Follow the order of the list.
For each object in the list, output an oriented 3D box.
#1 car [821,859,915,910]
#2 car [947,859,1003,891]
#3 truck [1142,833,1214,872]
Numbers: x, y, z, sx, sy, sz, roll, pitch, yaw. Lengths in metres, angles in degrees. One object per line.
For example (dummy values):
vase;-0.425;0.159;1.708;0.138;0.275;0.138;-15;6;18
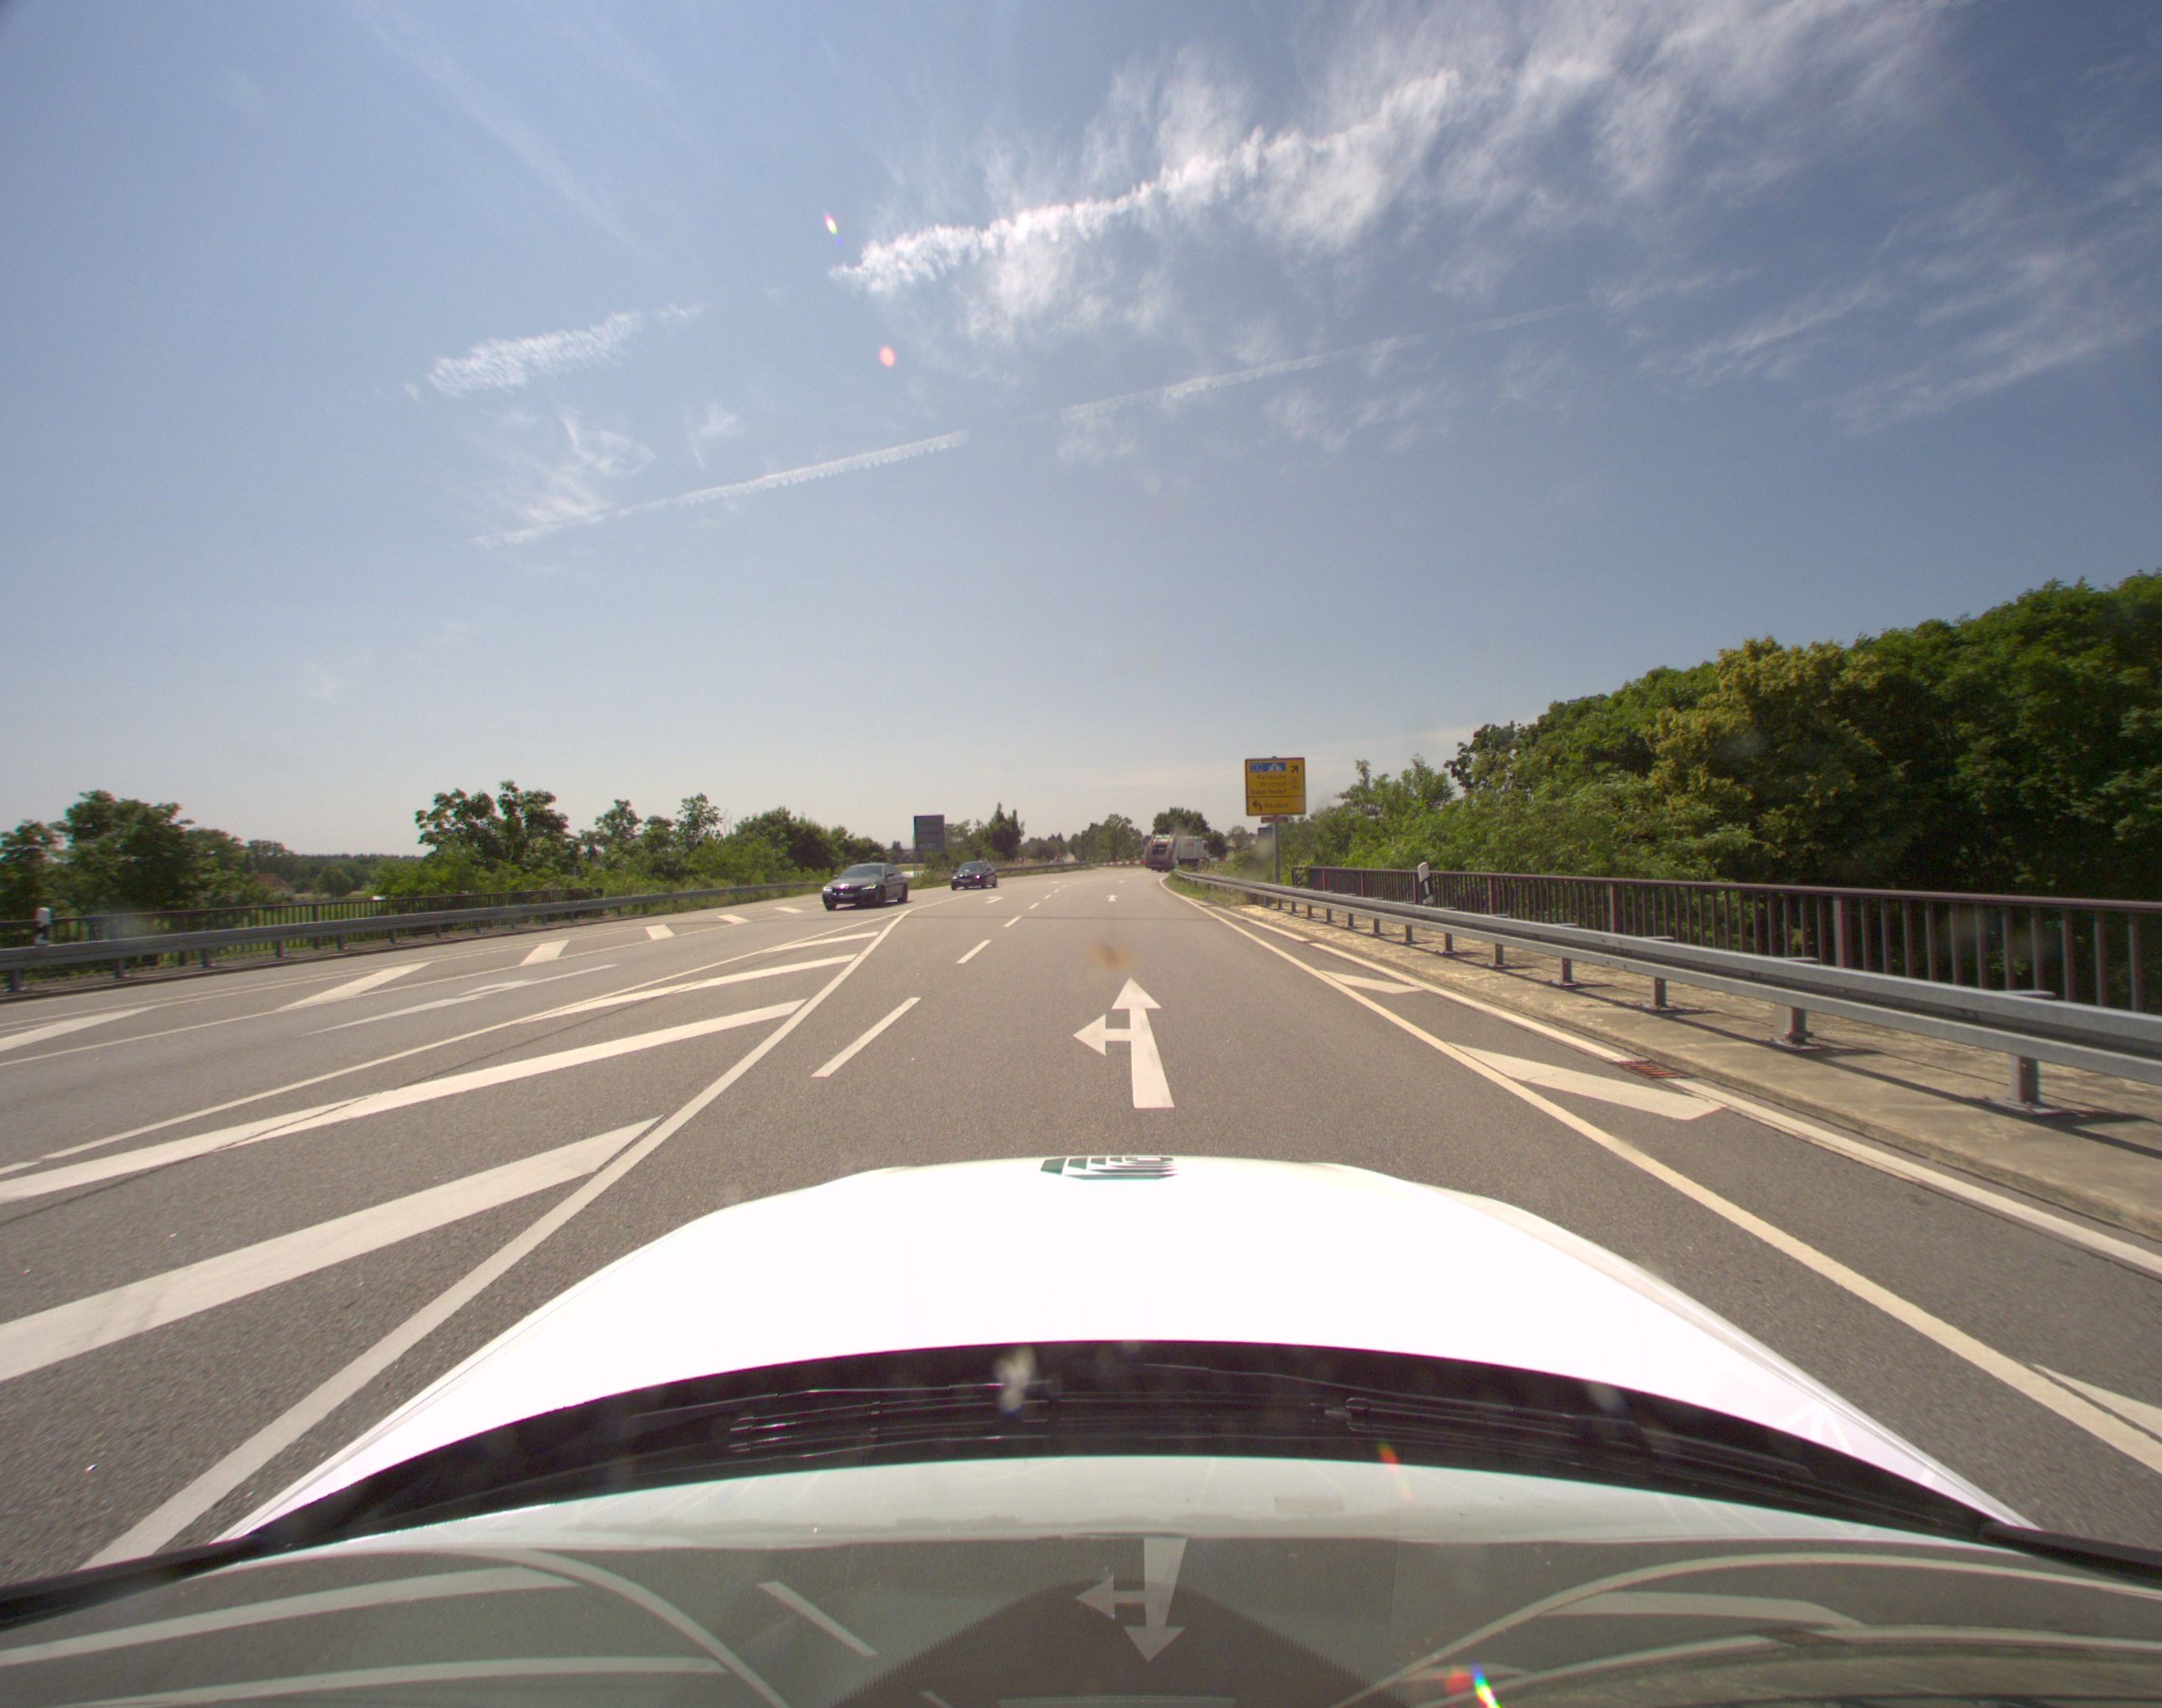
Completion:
car;-7.171;0.979;27.926;1.717;1.453;4.797;-3;0;2
car;-5.412;1.030;42.217;1.725;1.401;4.390;-3;0;7
truck;9.804;-0.139;80.955;2.785;3.669;10.011;-1;-1;34
